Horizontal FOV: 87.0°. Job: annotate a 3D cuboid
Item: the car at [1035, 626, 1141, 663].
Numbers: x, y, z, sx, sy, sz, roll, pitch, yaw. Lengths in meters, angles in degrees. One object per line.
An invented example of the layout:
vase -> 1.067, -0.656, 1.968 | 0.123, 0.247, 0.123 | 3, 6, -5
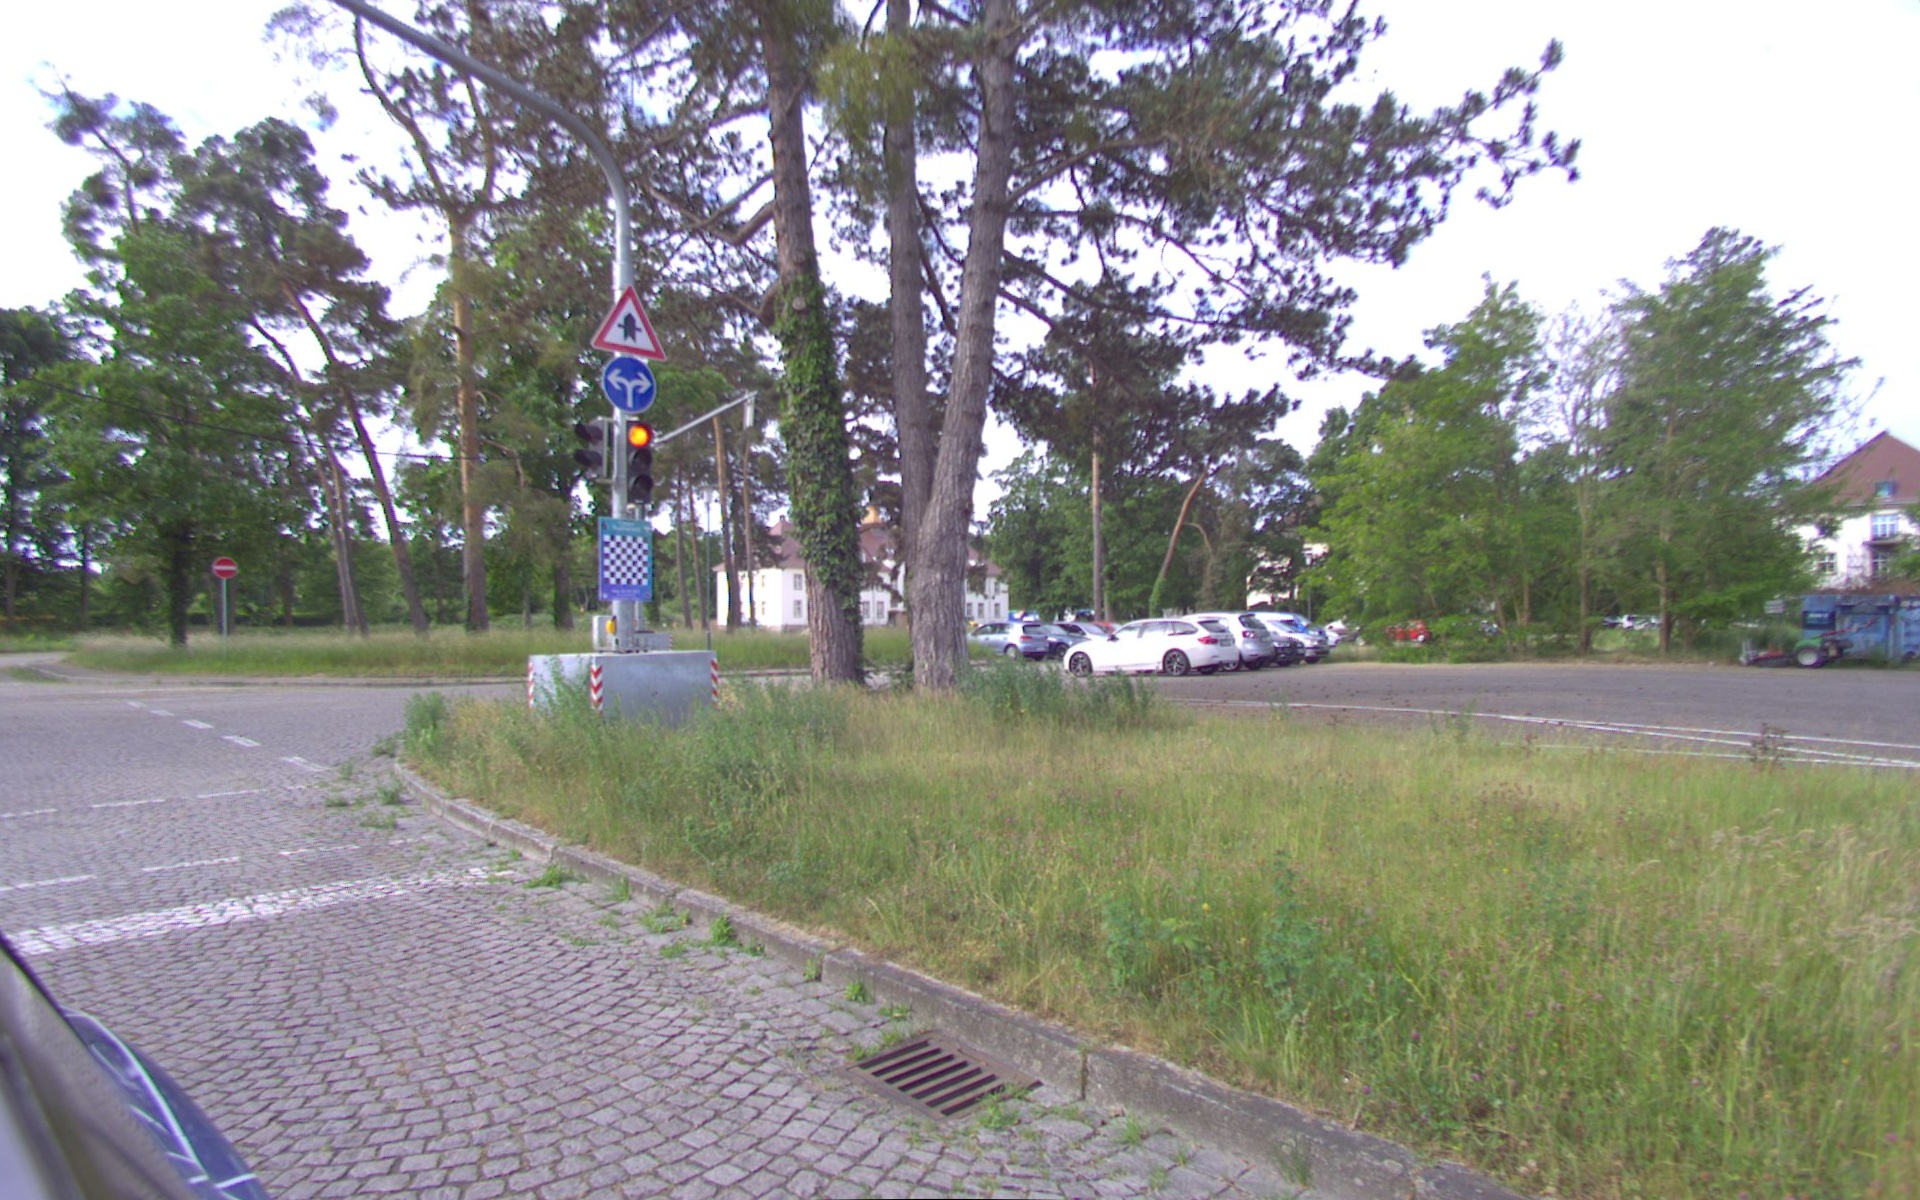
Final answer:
car -> 5.280, 1.825, 42.228 | 1.769, 1.456, 4.274 | 1, -2, -43

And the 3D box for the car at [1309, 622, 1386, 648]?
car -> 23.653, 2.124, 61.923 | 1.841, 1.516, 4.004 | 1, -2, -43

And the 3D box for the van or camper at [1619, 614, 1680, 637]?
van or camper -> 76.532, 2.877, 112.358 | 5.250, 2.482, 2.178 | -2, -2, 42

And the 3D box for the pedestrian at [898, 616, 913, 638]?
pedestrian -> -5.613, 2.778, 104.068 | 1.185, 2.194, 1.040 | -2, -2, 44

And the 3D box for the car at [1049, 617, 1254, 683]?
car -> 4.768, 1.305, 25.721 | 4.820, 1.451, 1.887 | -5, -4, 42

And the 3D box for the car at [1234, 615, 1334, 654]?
car -> 17.695, 1.890, 55.439 | 1.969, 2.029, 4.851 | 1, -2, -41

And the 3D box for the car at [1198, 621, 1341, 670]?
car -> 9.693, 1.402, 31.894 | 3.984, 1.467, 1.658 | -2, -2, 40

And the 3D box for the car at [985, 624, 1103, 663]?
car -> 3.299, 1.710, 40.418 | 4.636, 1.456, 1.770 | -2, -2, 45

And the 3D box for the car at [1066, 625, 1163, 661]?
car -> 6.699, 1.841, 44.039 | 1.769, 1.524, 3.940 | 1, -2, -43

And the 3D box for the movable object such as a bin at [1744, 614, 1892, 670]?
movable object such as a bin -> 19.855, 0.949, 23.461 | 2.540, 1.221, 1.154 | -2, -2, 44

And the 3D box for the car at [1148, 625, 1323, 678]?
car -> 8.041, 1.469, 29.825 | 4.633, 1.433, 1.859 | -2, -2, 42

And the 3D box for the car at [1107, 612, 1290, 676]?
car -> 6.451, 1.235, 27.669 | 4.484, 1.602, 1.822 | -4, -3, 40

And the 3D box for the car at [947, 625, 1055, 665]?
car -> 1.512, 1.688, 38.589 | 1.770, 1.429, 4.002 | 1, -2, -44
